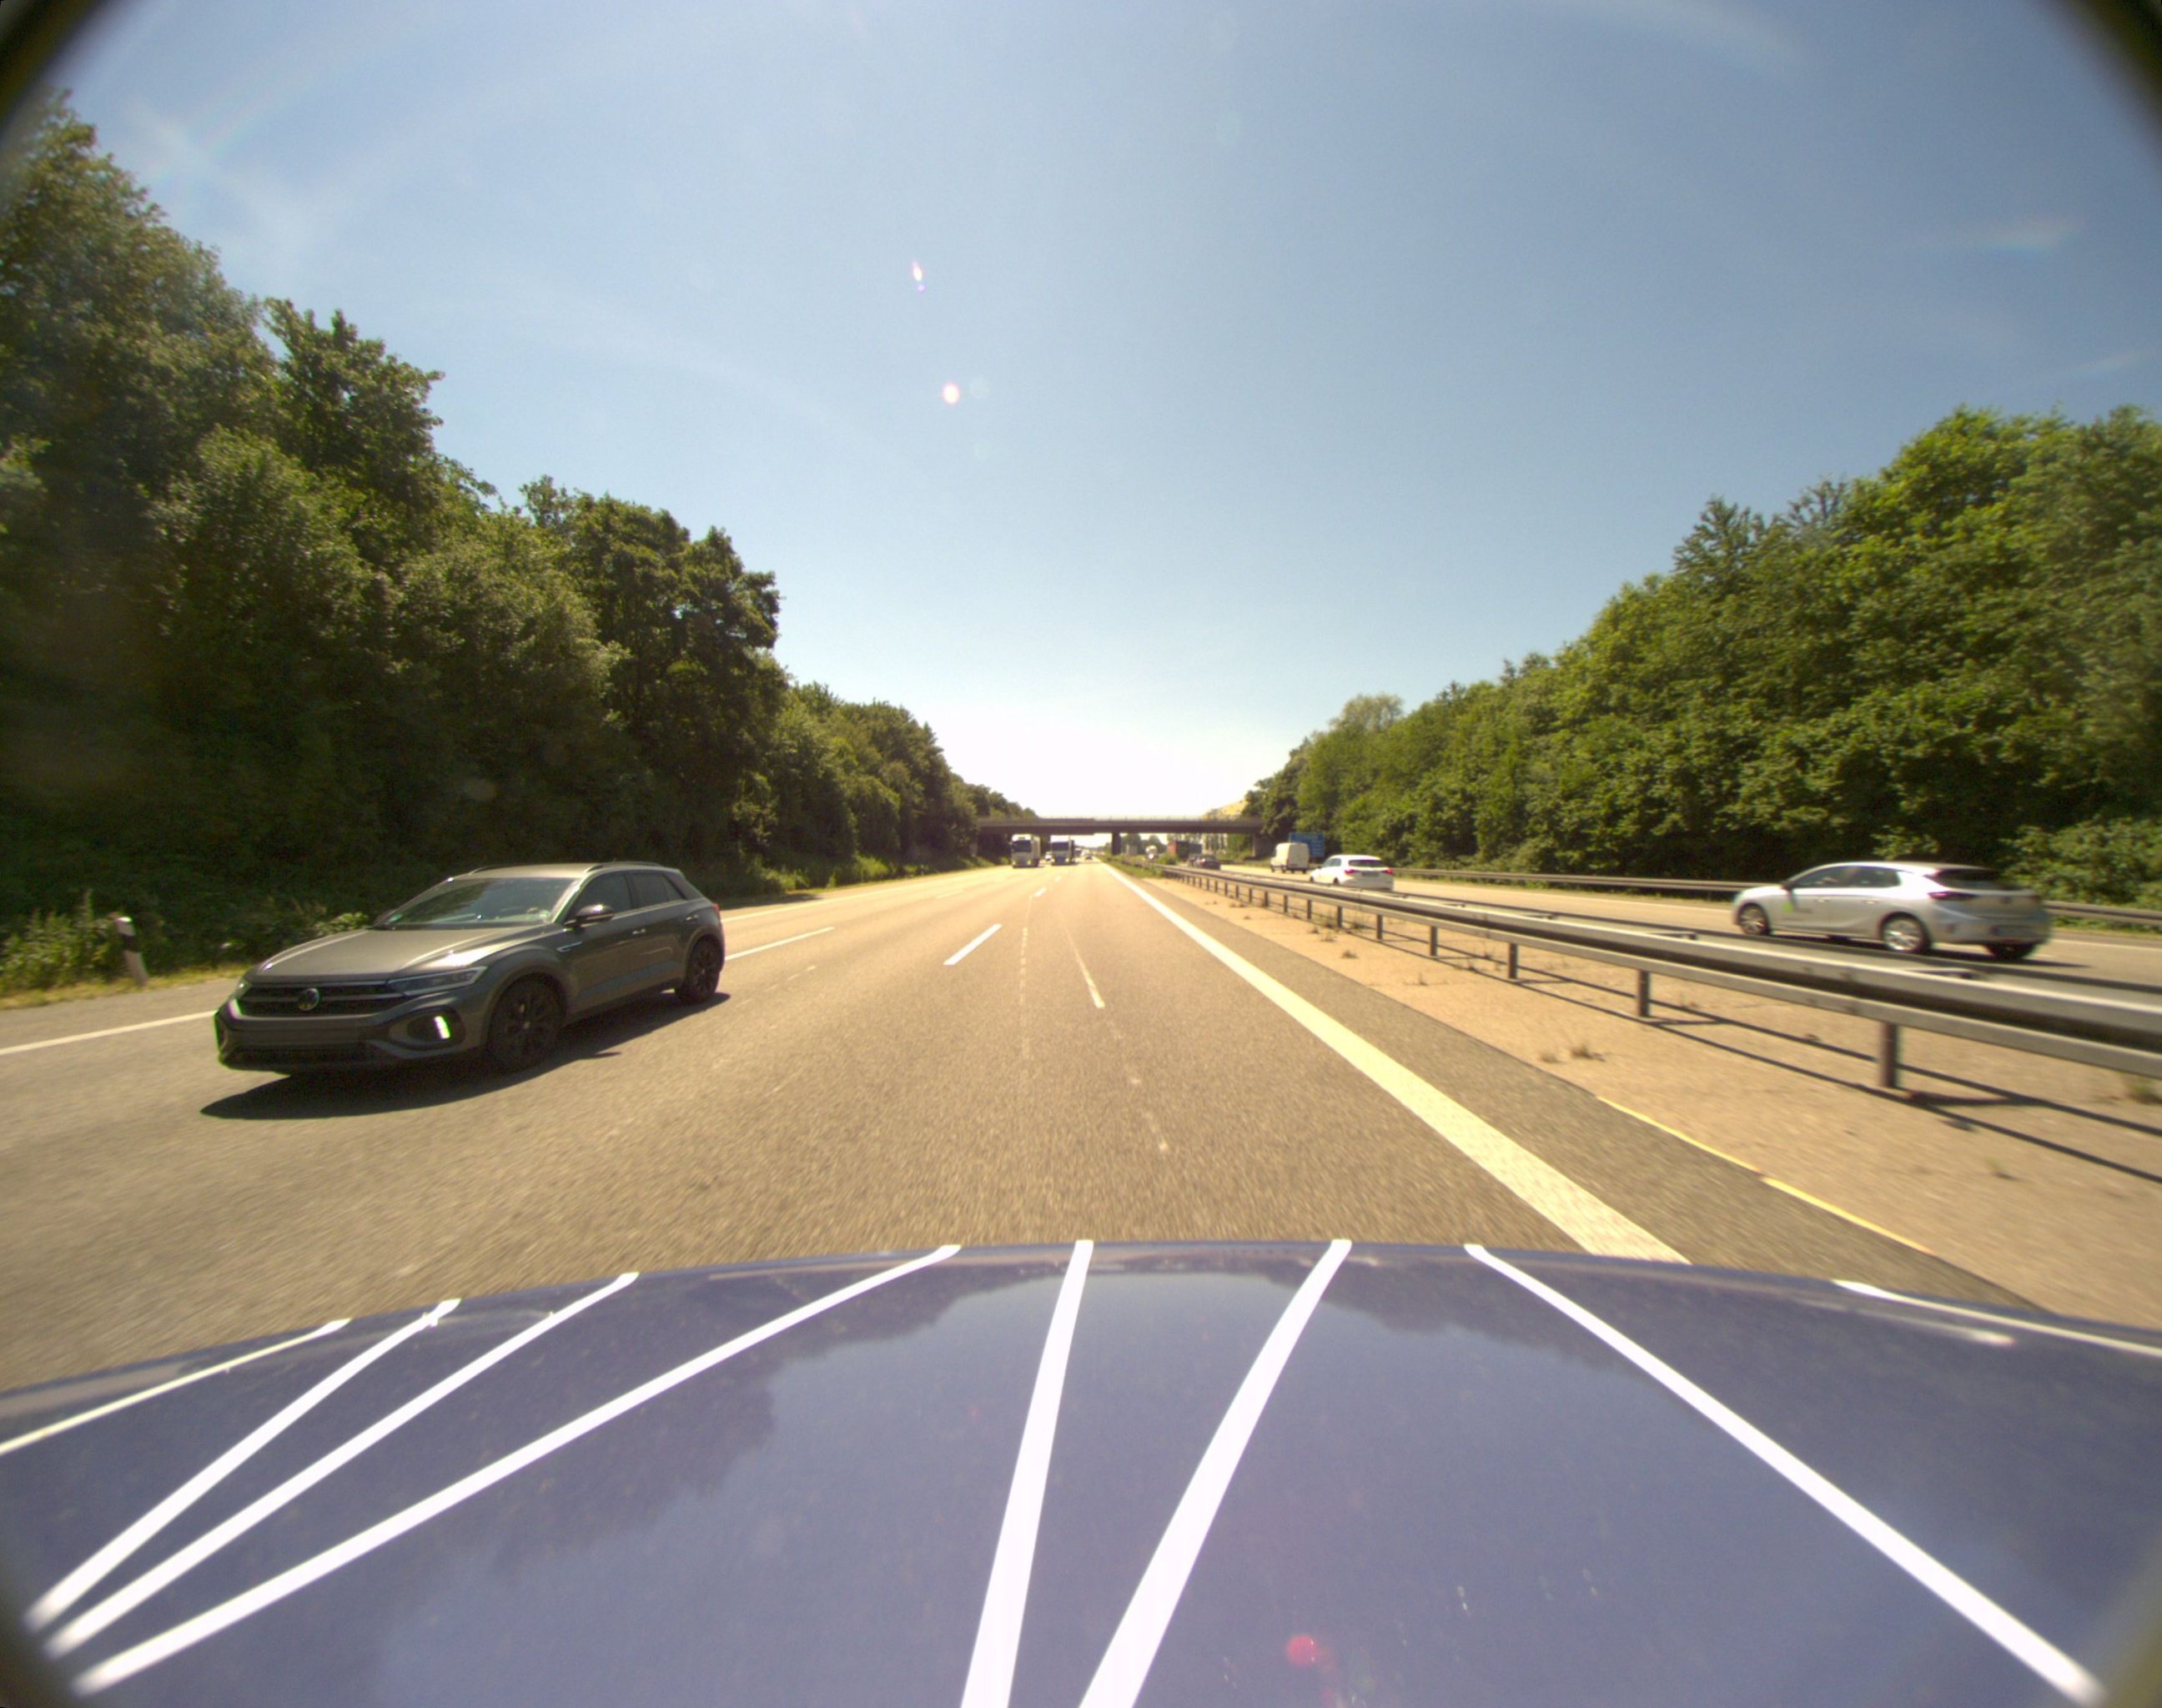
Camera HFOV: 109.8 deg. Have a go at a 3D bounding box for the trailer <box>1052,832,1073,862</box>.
[{"bbox_3d":[-2.625,-0.962,111.208,2.684,4.046,13.834,-1,0,0],"label":"trailer"}]

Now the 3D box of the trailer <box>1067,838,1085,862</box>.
[{"bbox_3d":[-1.007,-0.703,134.952,2.886,4.046,13.833,-1,0,-1],"label":"trailer"}]

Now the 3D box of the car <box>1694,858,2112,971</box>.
[{"bbox_3d":[13.247,0.850,12.856,1.825,1.515,4.823,0,0,0],"label":"car"}]

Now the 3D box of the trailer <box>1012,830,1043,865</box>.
[{"bbox_3d":[-6.904,-0.852,99.646,3.047,4.200,13.834,-1,0,0],"label":"trailer"}]

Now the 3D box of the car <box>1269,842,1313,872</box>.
[{"bbox_3d":[18.246,0.238,66.354,2.092,2.537,6.227,1,0,1],"label":"car"}]

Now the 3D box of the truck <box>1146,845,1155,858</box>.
[{"bbox_3d":[20.532,-0.855,224.473,2.365,3.753,5.251,1,0,1],"label":"truck"}]

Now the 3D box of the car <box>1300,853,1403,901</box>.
[{"bbox_3d":[9.237,0.713,26.366,1.825,1.515,4.823,0,0,0],"label":"car"}]

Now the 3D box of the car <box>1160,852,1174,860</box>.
[{"bbox_3d":[15.363,0.326,135.385,1.853,1.442,4.871,1,0,0],"label":"car"}]

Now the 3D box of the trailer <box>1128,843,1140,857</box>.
[{"bbox_3d":[16.680,-1.362,238.392,2.836,4.200,13.835,1,0,1],"label":"trailer"}]

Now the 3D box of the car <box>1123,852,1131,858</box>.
[{"bbox_3d":[11.854,0.204,196.540,1.672,1.503,4.518,0,0,-1],"label":"car"}]

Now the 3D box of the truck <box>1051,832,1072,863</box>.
[{"bbox_3d":[-2.581,-0.922,103.931,2.684,4.046,6.048,-1,0,0],"label":"truck"}]

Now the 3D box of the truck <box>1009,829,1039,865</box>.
[{"bbox_3d":[-6.870,-0.846,92.281,3.055,4.190,6.048,-1,0,0],"label":"truck"}]

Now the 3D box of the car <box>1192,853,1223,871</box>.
[{"bbox_3d":[10.242,0.607,61.852,1.843,1.375,4.427,1,0,1],"label":"car"}]

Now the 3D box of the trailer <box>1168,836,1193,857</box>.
[{"bbox_3d":[19.605,-1.442,150.538,3.225,4.035,12.740,0,0,0],"label":"trailer"}]

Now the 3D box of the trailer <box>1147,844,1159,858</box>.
[{"bbox_3d":[20.449,-0.843,217.461,2.364,3.772,12.074,1,0,1],"label":"trailer"}]

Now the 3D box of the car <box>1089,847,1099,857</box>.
[{"bbox_3d":[2.906,-0.441,168.686,2.073,1.959,5.109,0,0,-1],"label":"car"}]

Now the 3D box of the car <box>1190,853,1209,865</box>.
[{"bbox_3d":[14.987,0.608,96.296,1.672,1.394,4.706,0,0,0],"label":"car"}]

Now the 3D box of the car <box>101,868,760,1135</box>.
[{"bbox_3d":[-5.027,0.959,7.065,1.904,1.523,4.760,-1,0,2],"label":"car"}]
